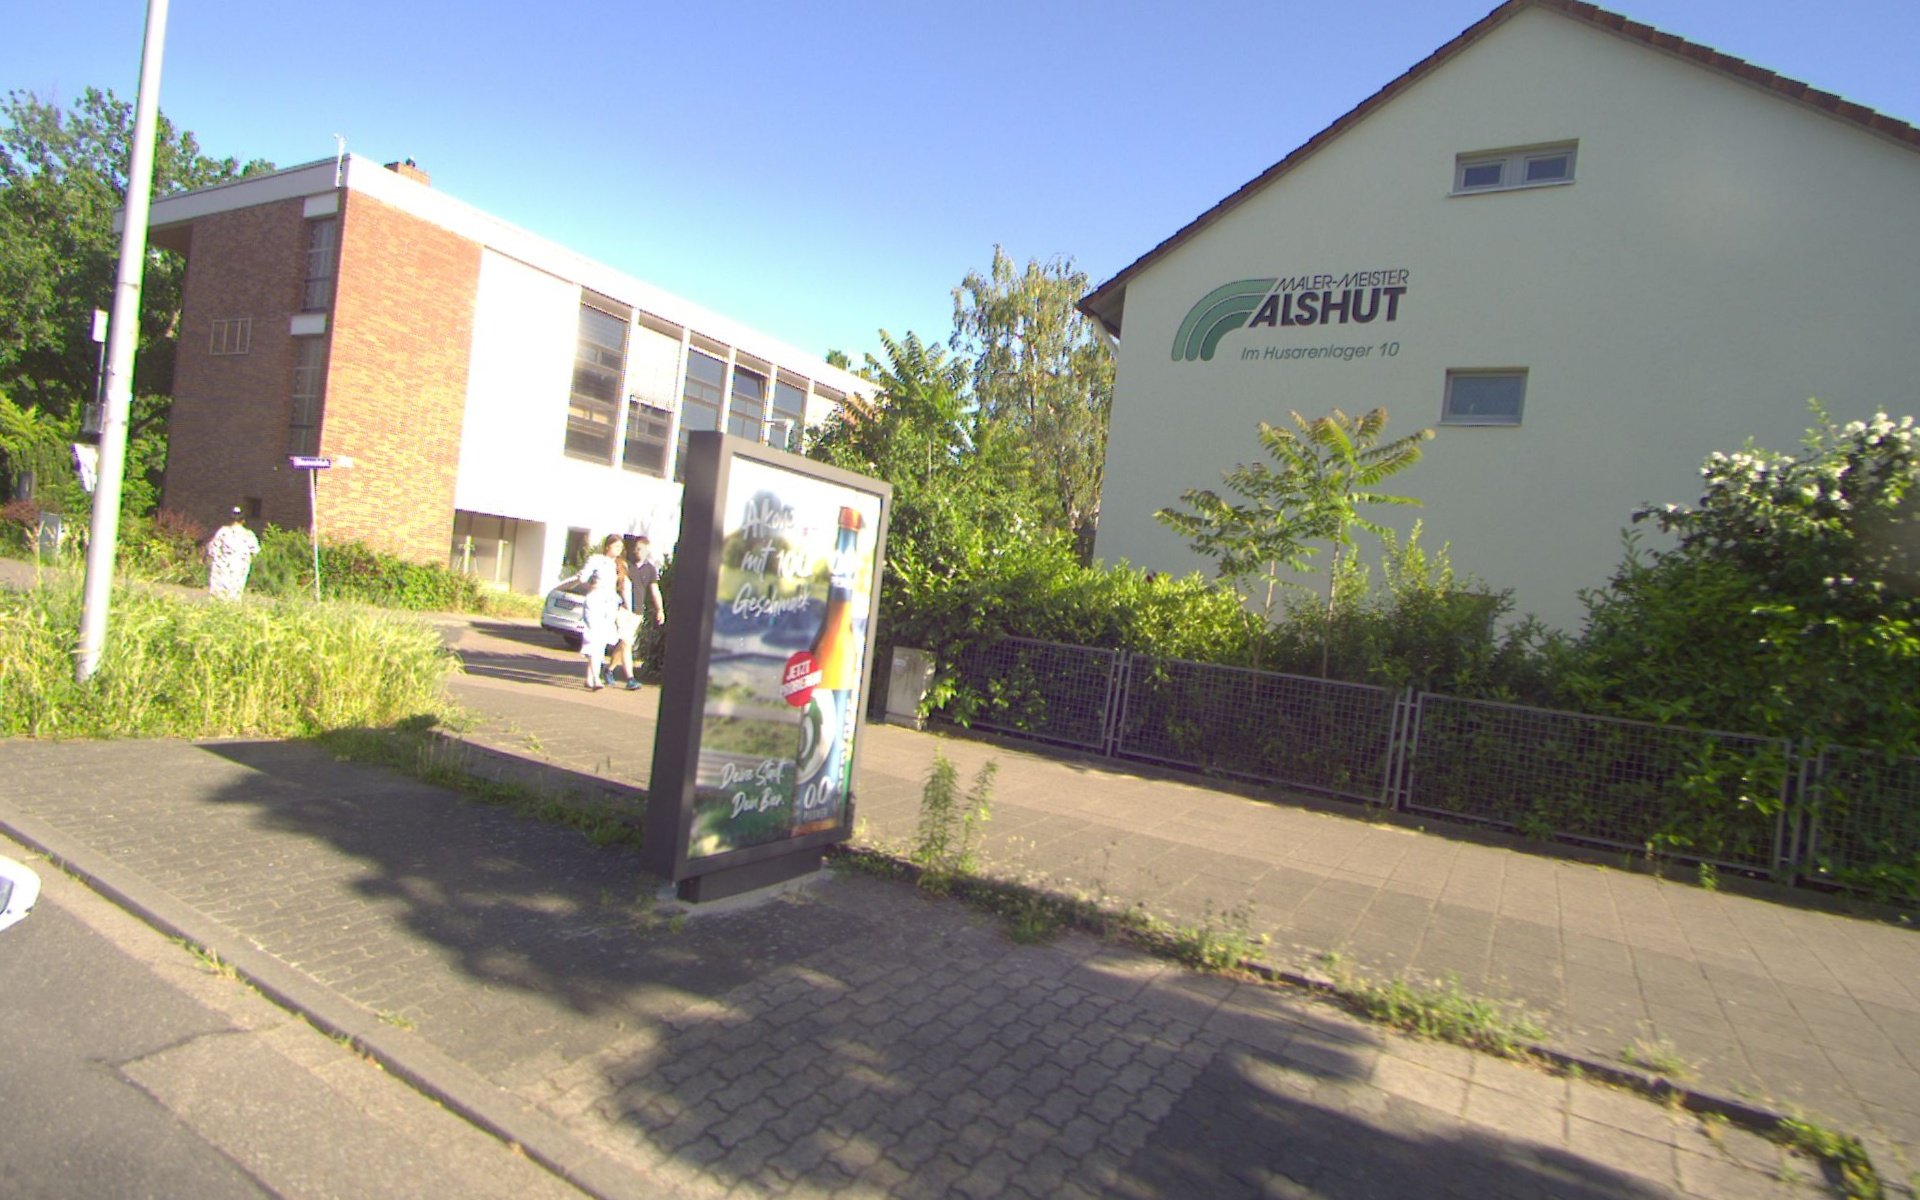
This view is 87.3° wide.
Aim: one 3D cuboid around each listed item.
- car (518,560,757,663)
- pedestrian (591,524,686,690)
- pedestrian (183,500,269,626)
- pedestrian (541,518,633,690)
[{"bbox_3d":[-6.141,0.289,19.672,1.776,1.521,4.201,8,0,31],"label":"car"},{"bbox_3d":[-3.586,0.079,11.217,0.604,1.753,0.632,7,-1,-43],"label":"pedestrian"},{"bbox_3d":[-11.634,-0.582,15.938,0.895,1.843,0.728,7,-1,-39],"label":"pedestrian"},{"bbox_3d":[-4.006,0.037,10.800,0.552,1.753,0.653,7,0,-43],"label":"pedestrian"}]
